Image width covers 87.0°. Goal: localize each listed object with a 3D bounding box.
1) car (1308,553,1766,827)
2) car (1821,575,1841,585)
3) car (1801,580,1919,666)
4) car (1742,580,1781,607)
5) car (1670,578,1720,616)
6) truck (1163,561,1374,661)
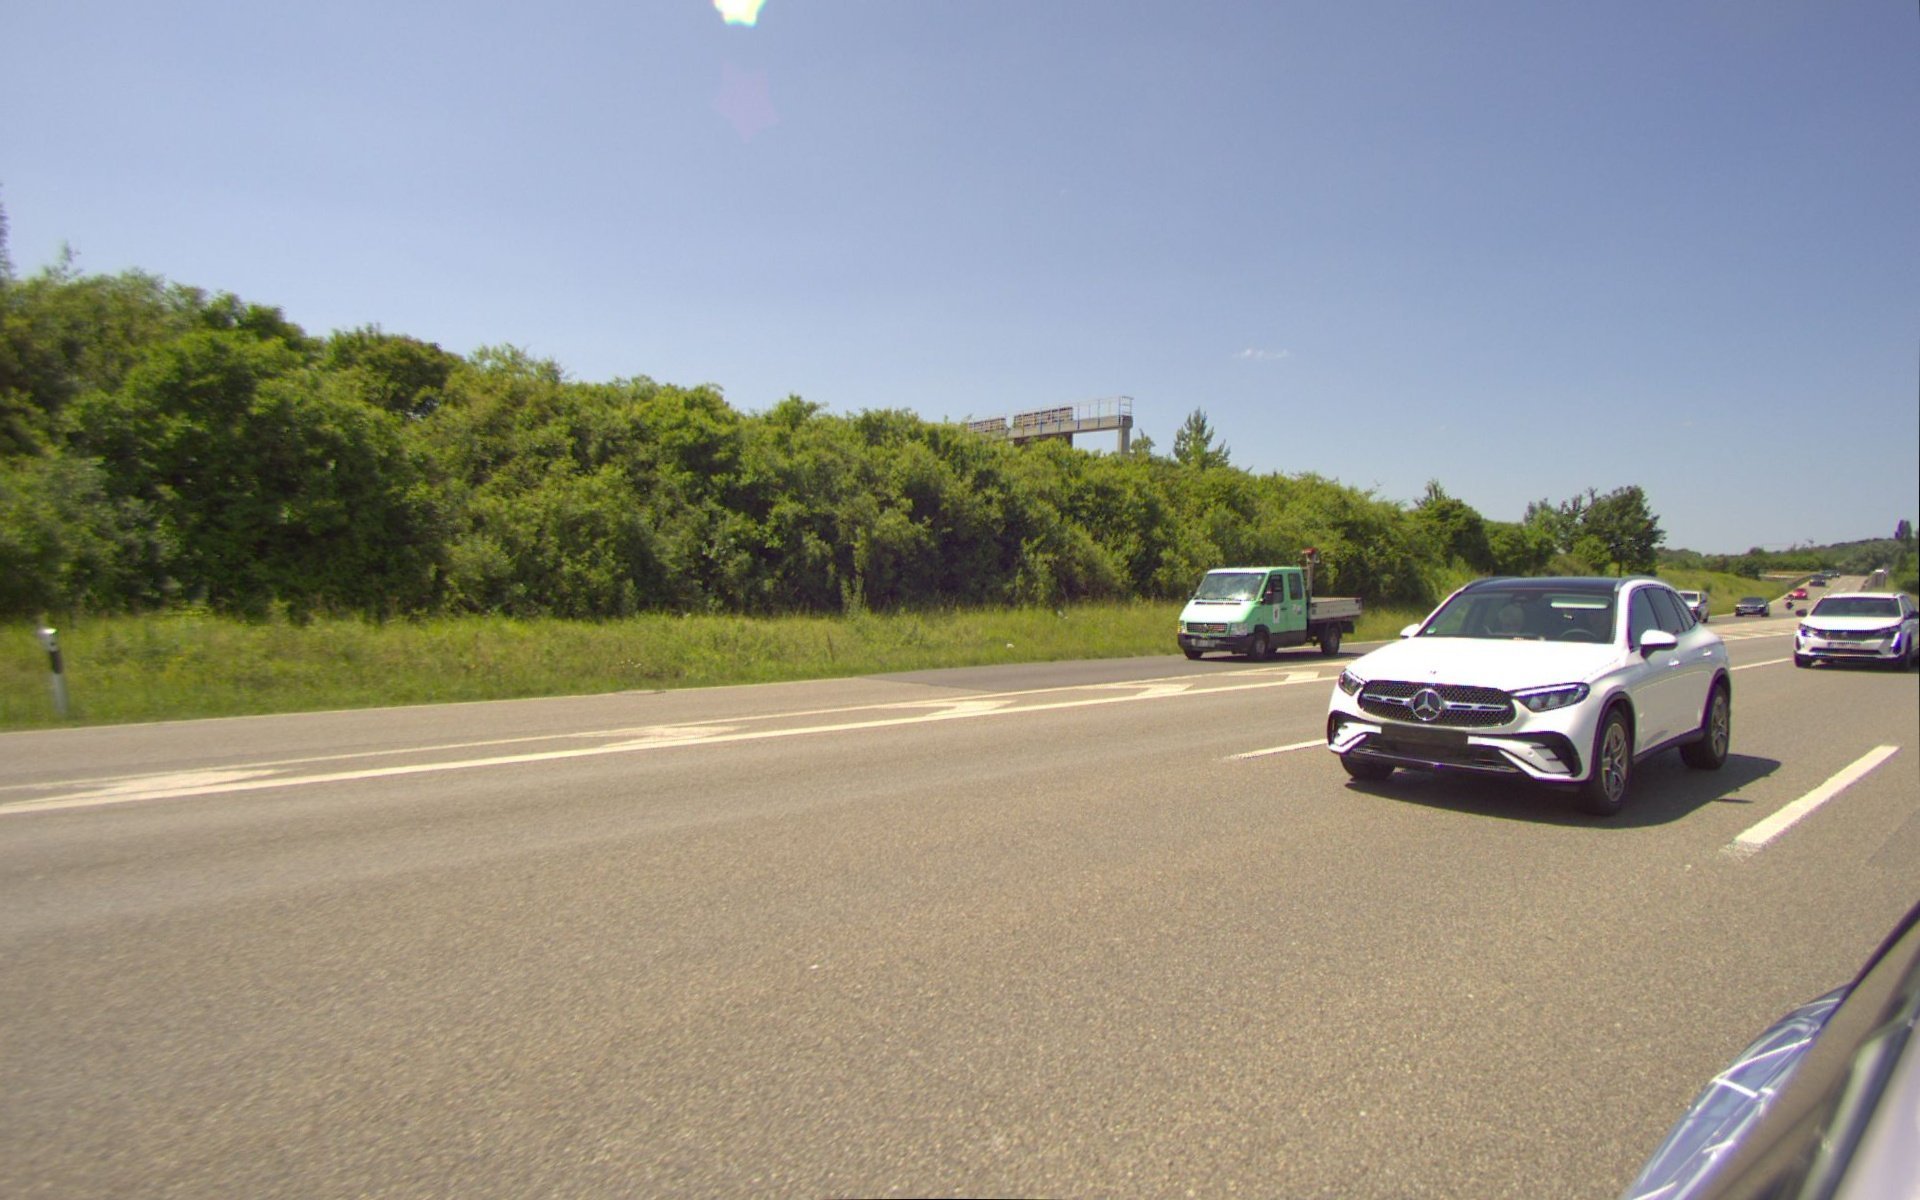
[{"bbox_3d":[4.973,0.509,8.415,4.556,1.676,1.908,-1,1,-41],"label":"car"},{"bbox_3d":[140.833,-3.223,163.678,4.539,1.650,1.980,-2,1,-43],"label":"car"},{"bbox_3d":[19.942,0.418,22.003,4.538,1.650,1.896,-2,1,-42],"label":"car"},{"bbox_3d":[65.298,-0.522,82.455,3.935,2.039,1.995,-2,1,-44],"label":"car"},{"bbox_3d":[44.603,-0.196,61.358,1.992,2.199,4.819,1,1,42],"label":"car"},{"bbox_3d":[7.514,0.184,24.199,6.017,2.118,2.166,-1,2,-44],"label":"truck"}]
